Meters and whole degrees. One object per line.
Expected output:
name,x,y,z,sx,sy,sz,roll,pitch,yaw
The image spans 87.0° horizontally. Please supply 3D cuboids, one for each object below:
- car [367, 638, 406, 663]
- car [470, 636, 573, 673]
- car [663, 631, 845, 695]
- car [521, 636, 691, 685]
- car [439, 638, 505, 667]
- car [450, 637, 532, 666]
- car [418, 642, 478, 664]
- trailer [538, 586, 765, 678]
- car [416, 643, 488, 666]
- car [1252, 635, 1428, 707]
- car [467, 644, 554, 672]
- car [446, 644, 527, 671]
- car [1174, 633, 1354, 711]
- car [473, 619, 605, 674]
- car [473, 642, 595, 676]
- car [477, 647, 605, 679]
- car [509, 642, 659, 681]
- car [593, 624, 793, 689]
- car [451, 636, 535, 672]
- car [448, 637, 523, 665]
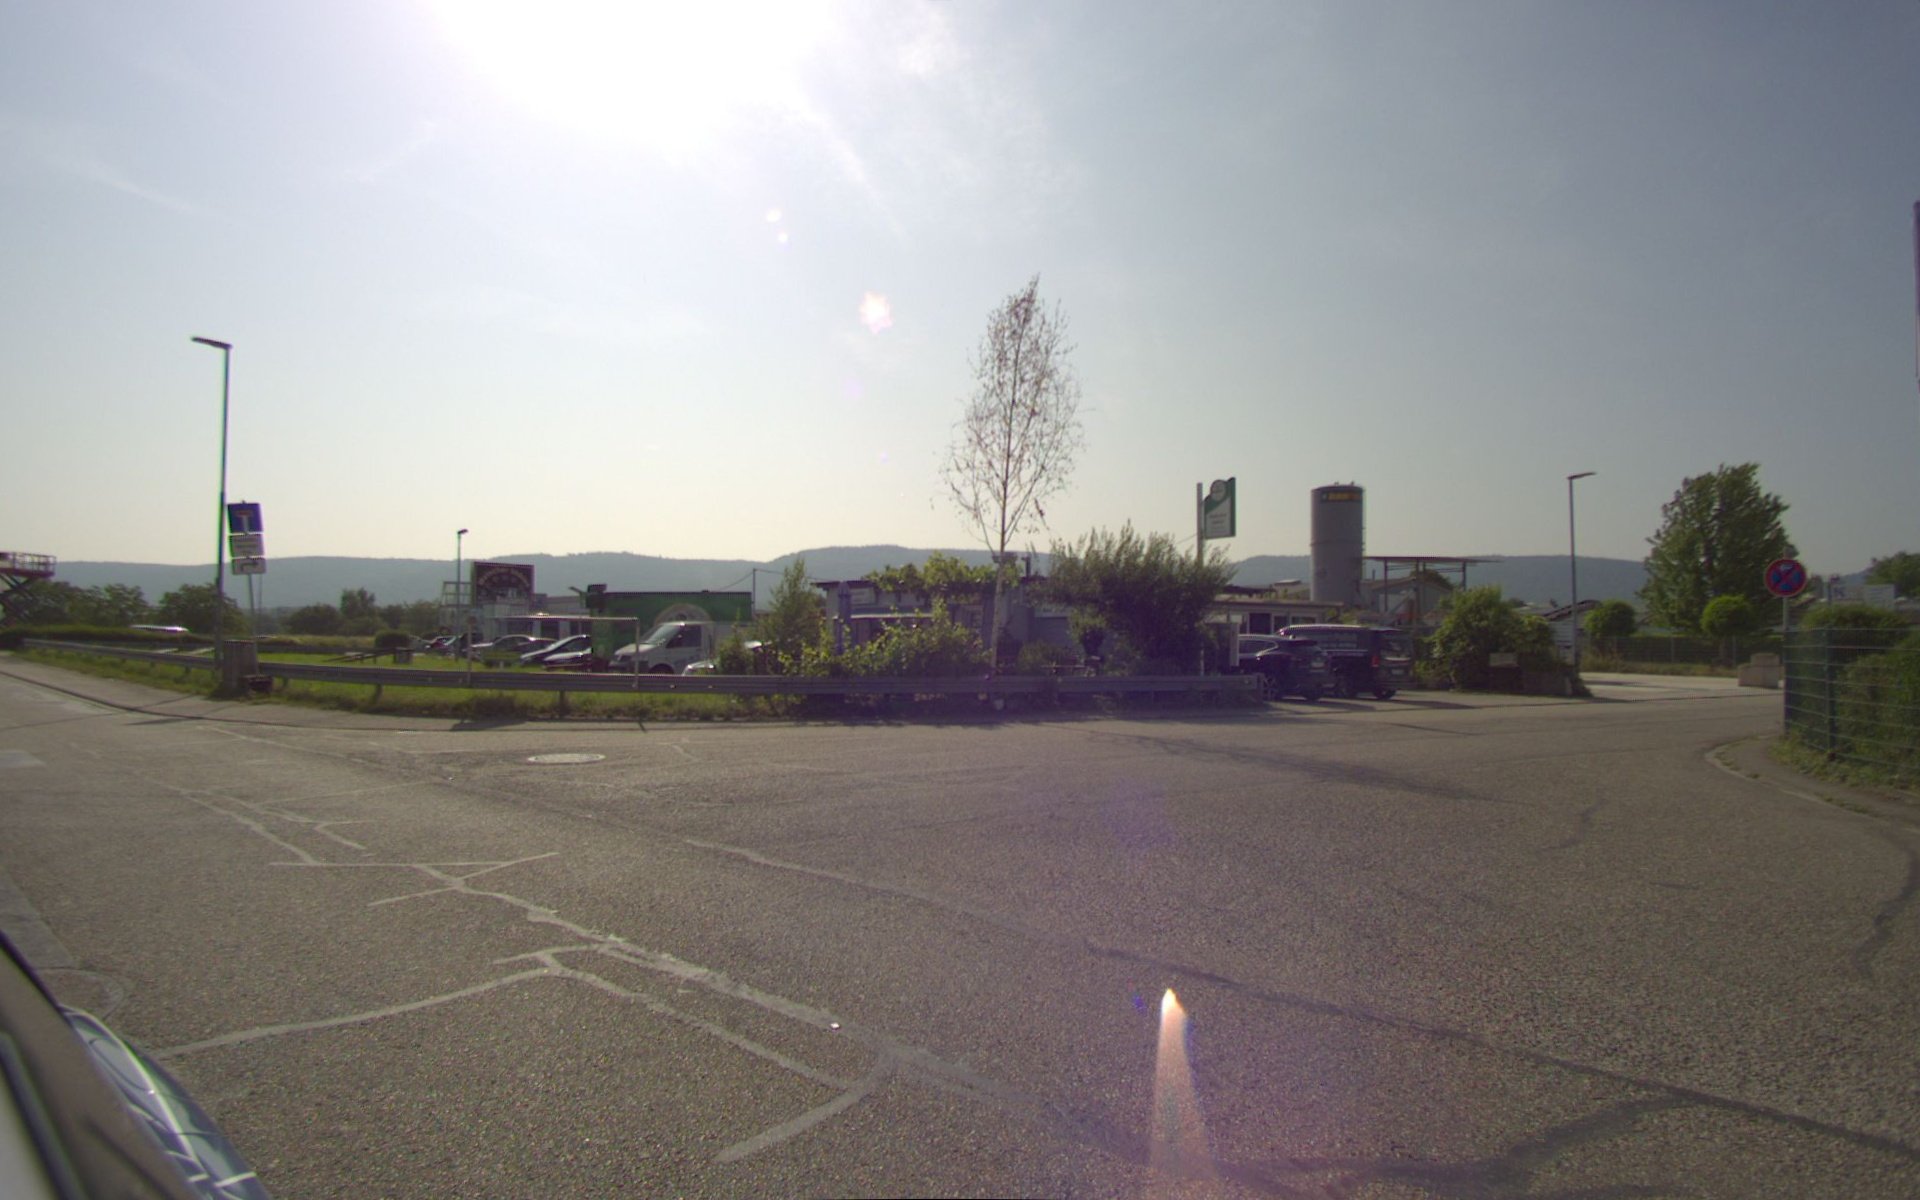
car,-48.001,4.241,84.625,1.969,2.029,4.163,4,-4,-41
car,-21.221,2.686,49.024,4.328,1.676,1.812,3,-5,-30
car,-5.254,1.618,26.461,1.956,1.521,4.788,-1,-3,30
car,-11.912,2.084,34.172,5.055,1.546,2.184,3,-5,-30
car,-32.865,3.506,68.150,3.712,1.809,1.937,0,0,-37
car,-26.628,2.930,57.508,3.935,1.533,1.688,4,-4,-38
car,-36.798,3.825,72.753,3.605,1.475,1.768,3,-4,-35
trailer,-9.701,1.105,32.079,6.223,2.625,2.861,4,-4,-35
car,-35.087,3.776,69.940,4.089,1.547,1.887,4,-4,-37
car,10.171,1.848,27.328,1.967,1.785,4.009,3,-3,-37
car,-22.647,2.928,51.069,3.696,1.318,1.811,3,-4,-35
car,-25.778,3.130,55.081,3.696,1.399,1.733,3,-4,-35
car,7.618,1.756,25.653,1.967,1.785,4.009,3,-3,-37
car,-19.524,2.214,47.027,5.314,2.391,2.300,3,-5,-30
car,-18.703,2.625,44.443,4.684,1.364,1.927,3,-5,-30
car,-17.315,2.629,41.883,4.616,1.228,1.836,3,-5,-30
car,-13.766,2.296,37.123,4.882,1.328,1.784,3,-5,-30
car,-7.603,1.653,29.211,5.199,1.719,2.002,4,-4,-43
car,-24.450,2.850,53.048,3.696,1.764,1.753,3,-4,-35
car,-27.896,3.006,59.537,3.628,1.533,1.688,4,-4,-38
